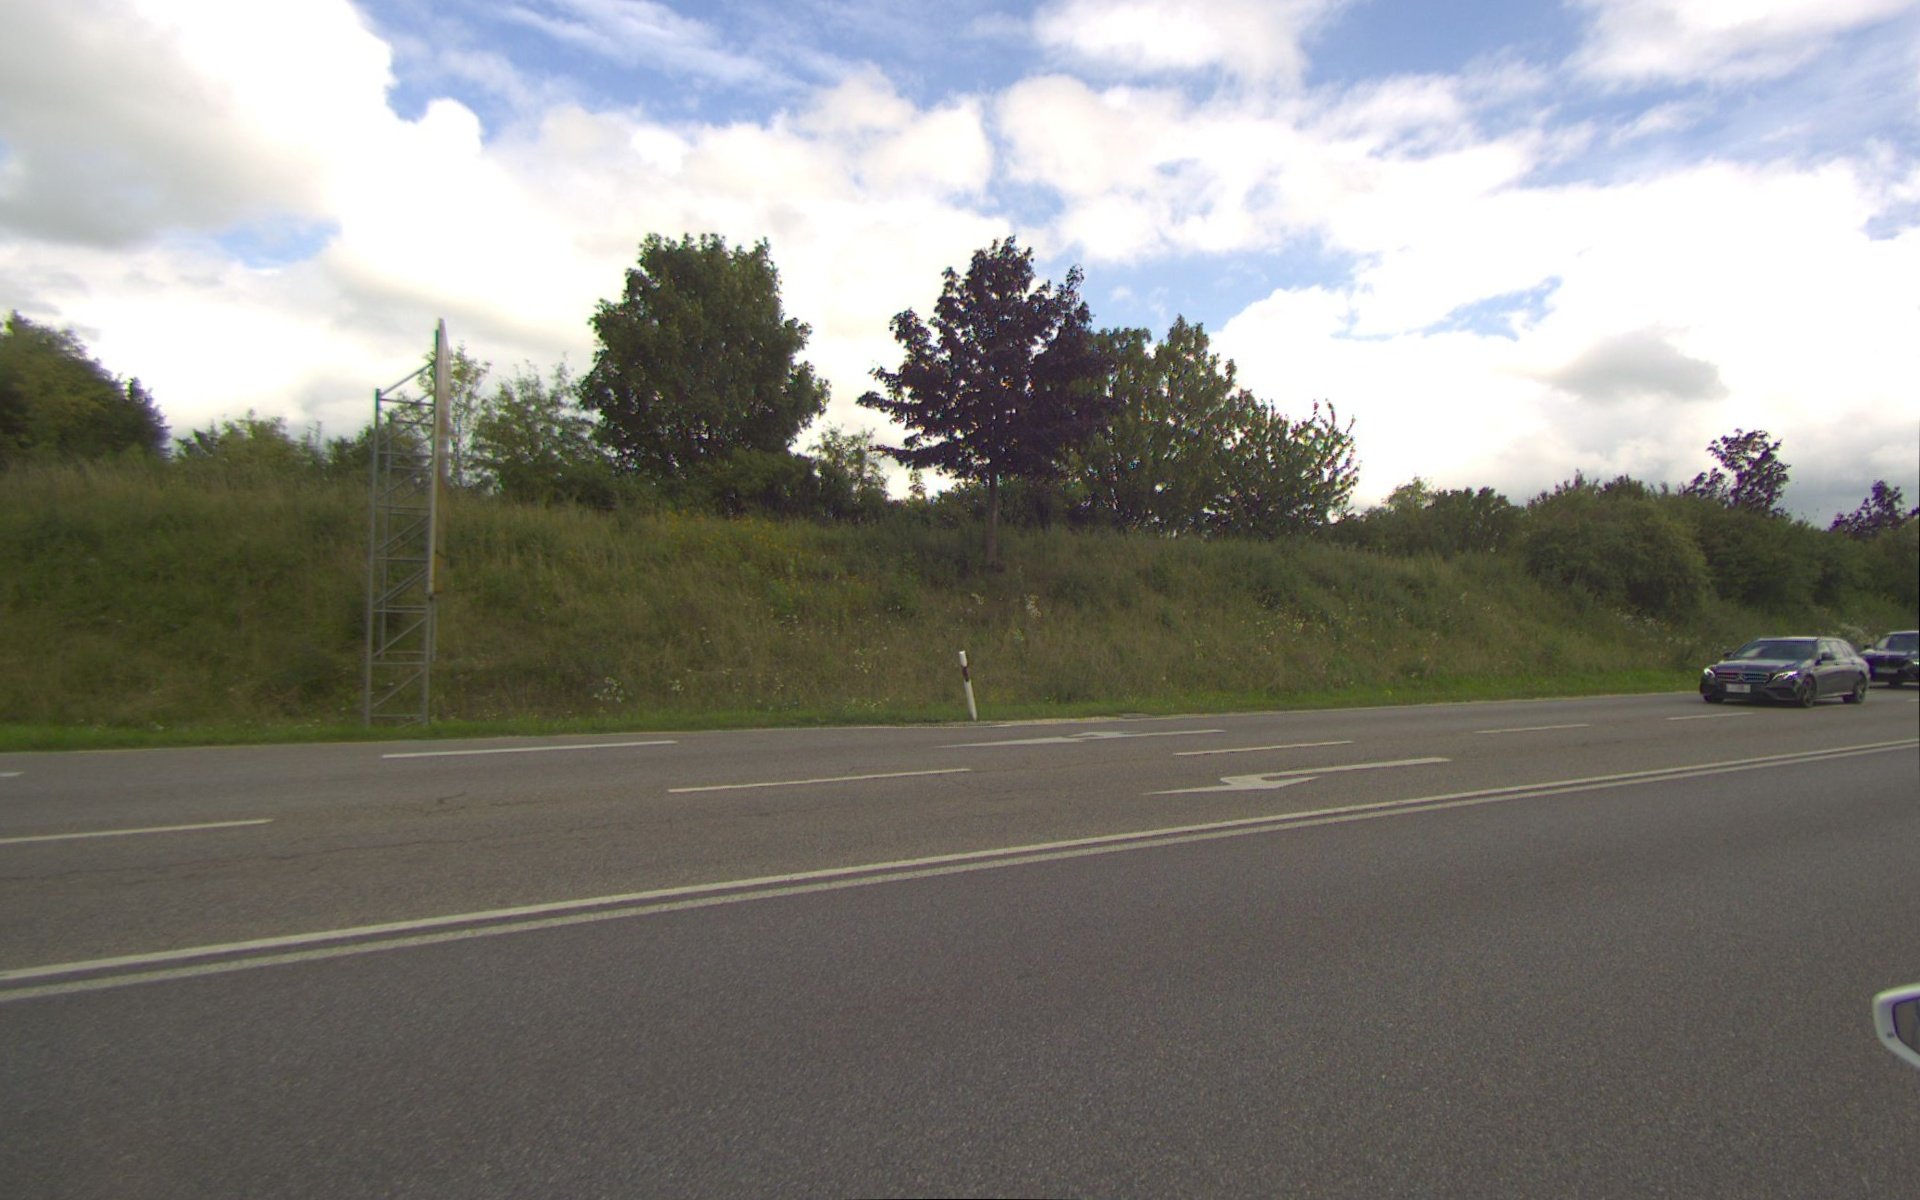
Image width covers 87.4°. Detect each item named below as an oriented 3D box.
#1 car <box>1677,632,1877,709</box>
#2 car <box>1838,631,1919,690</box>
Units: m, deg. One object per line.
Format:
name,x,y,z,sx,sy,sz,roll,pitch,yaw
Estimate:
car,18.437,1.527,22.601,4.936,1.514,1.983,2,-1,-31
car,28.592,1.783,30.284,4.940,1.632,1.982,2,-1,-34
